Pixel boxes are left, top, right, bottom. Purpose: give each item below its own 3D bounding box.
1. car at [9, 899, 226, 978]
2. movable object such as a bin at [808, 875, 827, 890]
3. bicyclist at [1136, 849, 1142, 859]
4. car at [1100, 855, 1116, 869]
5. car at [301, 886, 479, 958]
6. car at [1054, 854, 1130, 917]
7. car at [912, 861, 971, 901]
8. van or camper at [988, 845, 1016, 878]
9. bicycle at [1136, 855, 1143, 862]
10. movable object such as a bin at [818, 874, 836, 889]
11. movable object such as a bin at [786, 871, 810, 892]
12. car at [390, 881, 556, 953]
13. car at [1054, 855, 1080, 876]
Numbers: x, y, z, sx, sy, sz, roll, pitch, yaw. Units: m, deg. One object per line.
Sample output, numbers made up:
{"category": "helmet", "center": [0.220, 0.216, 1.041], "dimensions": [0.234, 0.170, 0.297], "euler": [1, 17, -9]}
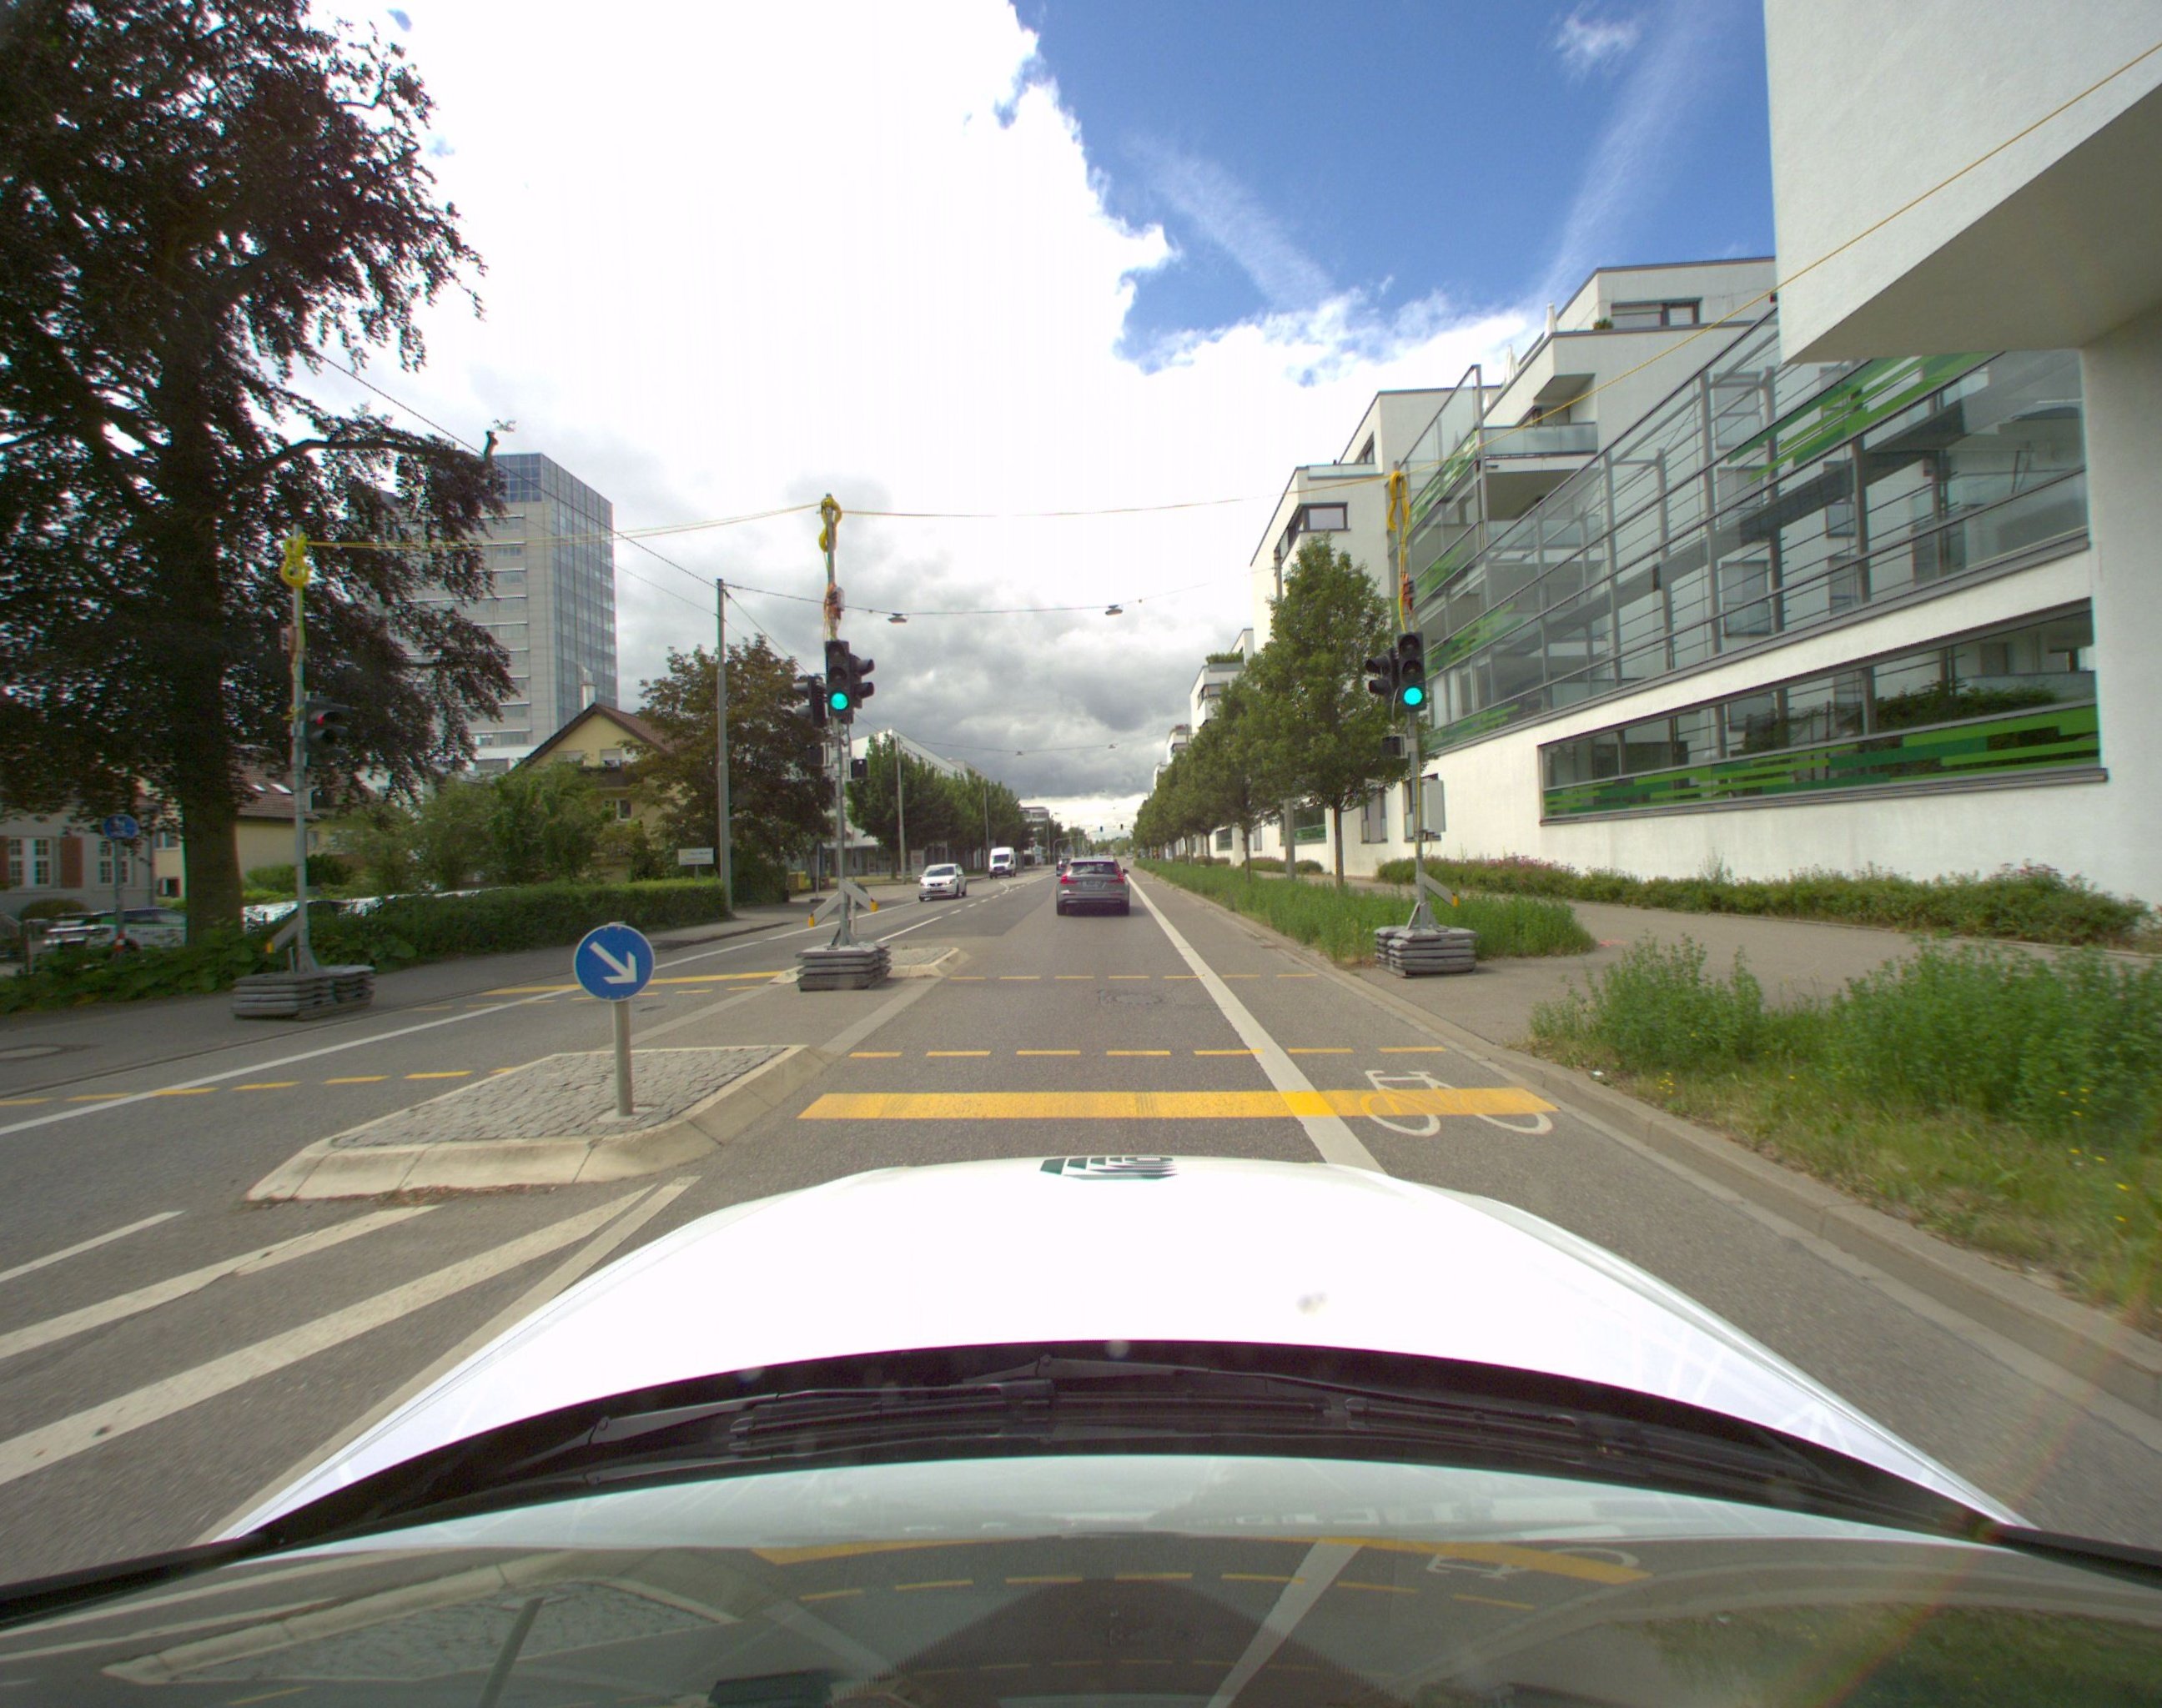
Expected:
{"category": "car", "center": [-25.558, 2.178, 21.795], "dimensions": [1.656, 1.663, 3.435], "euler": [-2, 0, 0]}
{"category": "movable object such as a bin", "center": [-17.756, 1.899, 54.894], "dimensions": [0.742, 0.941, 1.001], "euler": [-4, 0, 8]}
{"category": "bicyclist", "center": [11.787, 0.057, 165.002], "dimensions": [1.010, 2.013, 1.131], "euler": [-4, 0, 1]}
{"category": "car", "center": [3.142, 0.868, 94.749], "dimensions": [1.838, 1.513, 4.001], "euler": [-2, 0, 1]}
{"category": "car", "center": [-17.928, 1.707, 21.342], "dimensions": [1.656, 1.515, 3.435], "euler": [-2, 0, 0]}
{"category": "car", "center": [0.290, 0.766, 21.793], "dimensions": [1.848, 1.513, 4.000], "euler": [0, 0, 0]}
{"category": "car", "center": [-5.902, 1.115, 34.949], "dimensions": [1.655, 1.515, 4.002], "euler": [-2, 0, 2]}
{"category": "van or camper", "center": [-7.139, 0.666, 73.980], "dimensions": [1.989, 2.734, 6.047], "euler": [-3, 0, -2]}
{"category": "bicycle", "center": [11.850, 0.862, 164.905], "dimensions": [1.063, 1.453, 2.978], "euler": [-4, 0, 1]}
{"category": "movable object such as a bin", "center": [-17.013, 1.851, 54.612], "dimensions": [0.742, 0.941, 1.001], "euler": [-4, 0, 8]}
{"category": "movable object such as a bin", "center": [-19.137, 1.837, 55.043], "dimensions": [1.411, 1.330, 1.414], "euler": [-4, 0, -20]}
{"category": "car", "center": [-15.523, 1.552, 21.025], "dimensions": [1.656, 1.515, 3.435], "euler": [-2, 0, 0]}
{"category": "car", "center": [-1.082, 0.905, 64.017], "dimensions": [1.848, 1.513, 4.001], "euler": [-2, 0, 1]}
